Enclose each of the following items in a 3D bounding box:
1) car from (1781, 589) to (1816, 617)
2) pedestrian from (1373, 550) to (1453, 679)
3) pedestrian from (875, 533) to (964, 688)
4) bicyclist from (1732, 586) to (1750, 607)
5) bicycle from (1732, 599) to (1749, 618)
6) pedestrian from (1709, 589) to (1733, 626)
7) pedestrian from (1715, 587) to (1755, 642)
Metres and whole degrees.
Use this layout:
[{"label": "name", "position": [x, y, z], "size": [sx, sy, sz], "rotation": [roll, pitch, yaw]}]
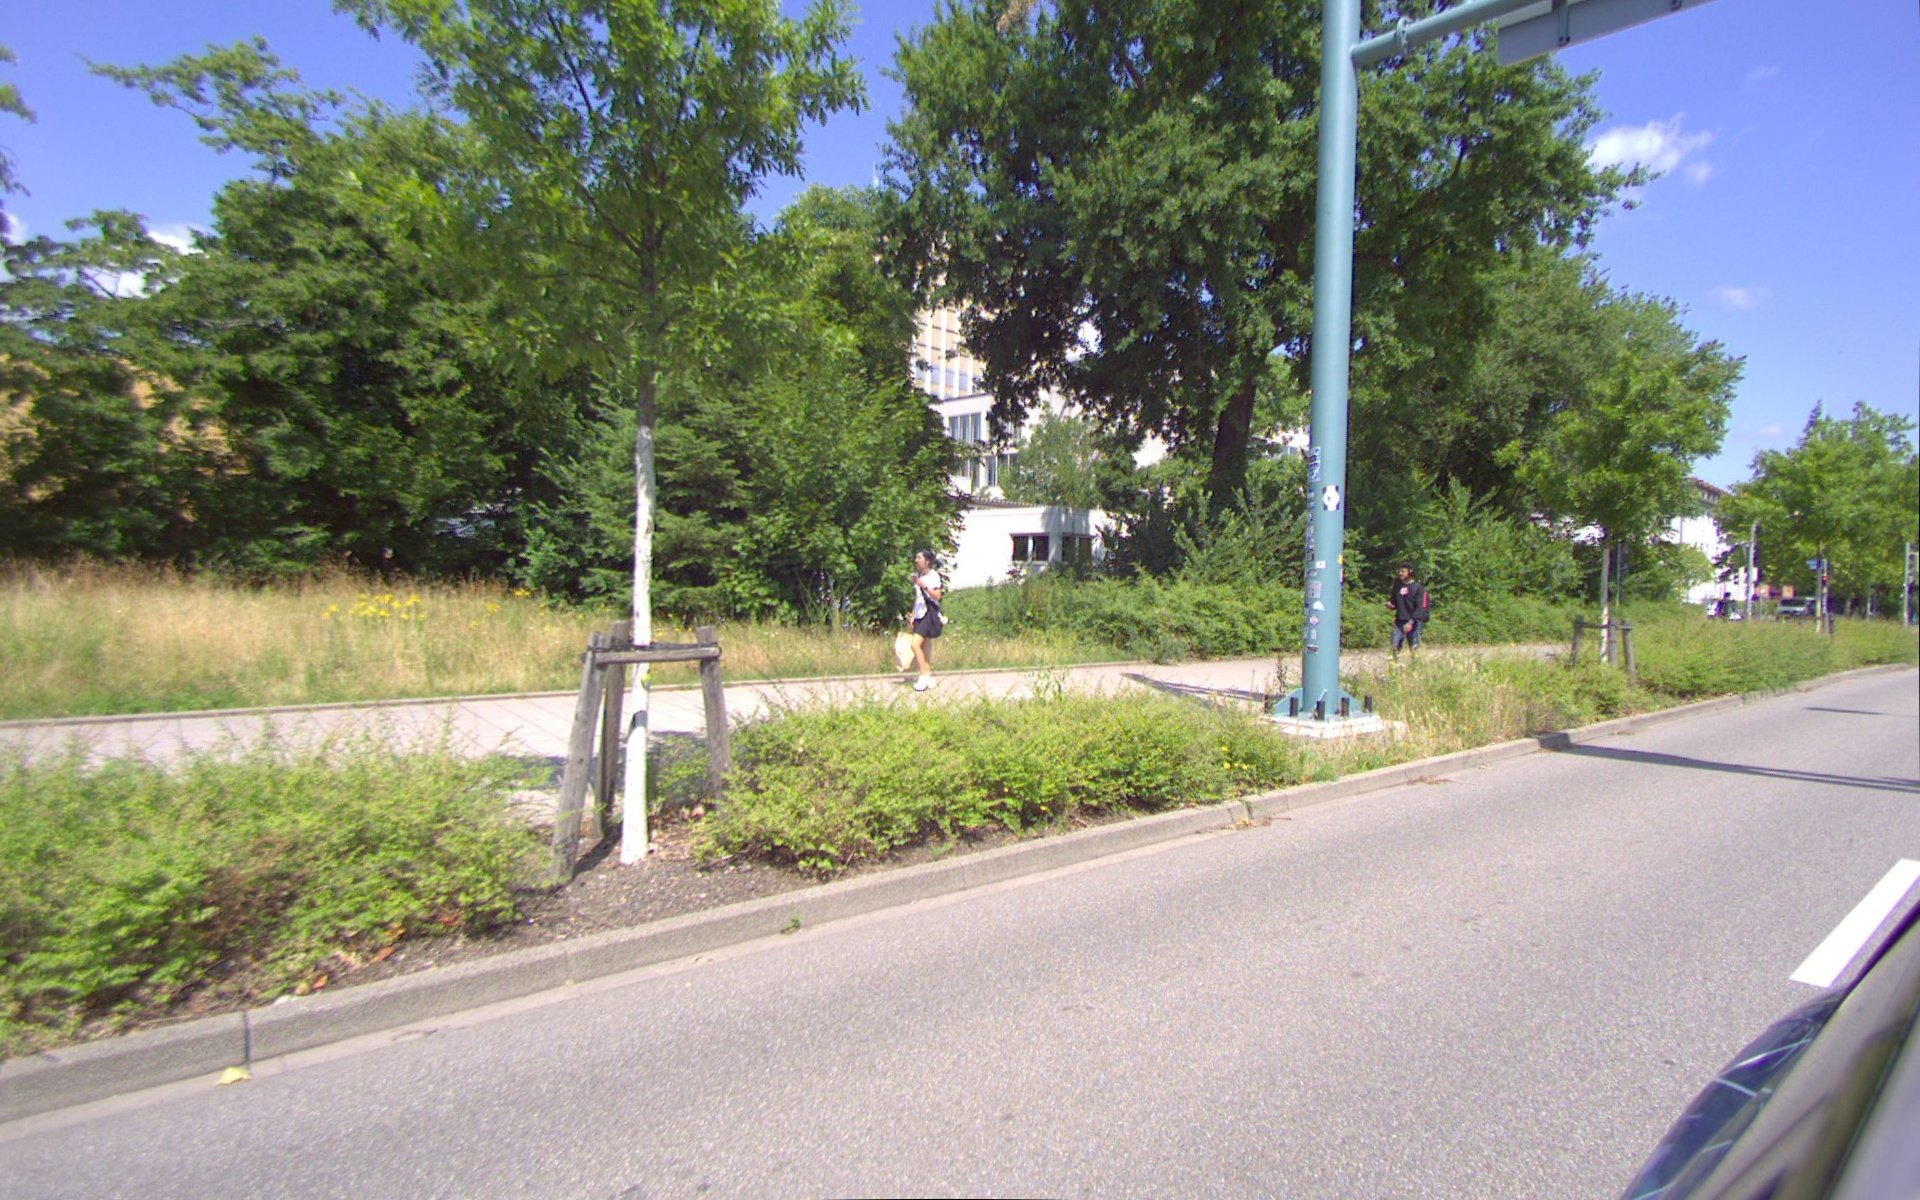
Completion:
[{"label": "car", "position": [65.236, 0.204, 78.724], "size": [1.992, 2.080, 4.166], "rotation": [2, 1, 41]}, {"label": "pedestrian", "position": [6.395, 0.189, 14.300], "size": [0.822, 1.743, 0.718], "rotation": [1, 1, -39]}, {"label": "pedestrian", "position": [-0.476, 0.110, 11.877], "size": [0.733, 1.743, 0.724], "rotation": [1, 1, -39]}, {"label": "bicyclist", "position": [54.469, -0.262, 70.591], "size": [0.967, 1.462, 1.062], "rotation": [1, 1, 37]}, {"label": "bicycle", "position": [54.514, 0.562, 70.655], "size": [0.880, 1.267, 2.136], "rotation": [1, 1, 37]}, {"label": "pedestrian", "position": [40.348, 0.391, 53.641], "size": [0.876, 1.896, 0.956], "rotation": [1, 1, 44]}, {"label": "pedestrian", "position": [25.245, 0.461, 32.974], "size": [0.913, 1.743, 0.815], "rotation": [1, 1, -39]}]
